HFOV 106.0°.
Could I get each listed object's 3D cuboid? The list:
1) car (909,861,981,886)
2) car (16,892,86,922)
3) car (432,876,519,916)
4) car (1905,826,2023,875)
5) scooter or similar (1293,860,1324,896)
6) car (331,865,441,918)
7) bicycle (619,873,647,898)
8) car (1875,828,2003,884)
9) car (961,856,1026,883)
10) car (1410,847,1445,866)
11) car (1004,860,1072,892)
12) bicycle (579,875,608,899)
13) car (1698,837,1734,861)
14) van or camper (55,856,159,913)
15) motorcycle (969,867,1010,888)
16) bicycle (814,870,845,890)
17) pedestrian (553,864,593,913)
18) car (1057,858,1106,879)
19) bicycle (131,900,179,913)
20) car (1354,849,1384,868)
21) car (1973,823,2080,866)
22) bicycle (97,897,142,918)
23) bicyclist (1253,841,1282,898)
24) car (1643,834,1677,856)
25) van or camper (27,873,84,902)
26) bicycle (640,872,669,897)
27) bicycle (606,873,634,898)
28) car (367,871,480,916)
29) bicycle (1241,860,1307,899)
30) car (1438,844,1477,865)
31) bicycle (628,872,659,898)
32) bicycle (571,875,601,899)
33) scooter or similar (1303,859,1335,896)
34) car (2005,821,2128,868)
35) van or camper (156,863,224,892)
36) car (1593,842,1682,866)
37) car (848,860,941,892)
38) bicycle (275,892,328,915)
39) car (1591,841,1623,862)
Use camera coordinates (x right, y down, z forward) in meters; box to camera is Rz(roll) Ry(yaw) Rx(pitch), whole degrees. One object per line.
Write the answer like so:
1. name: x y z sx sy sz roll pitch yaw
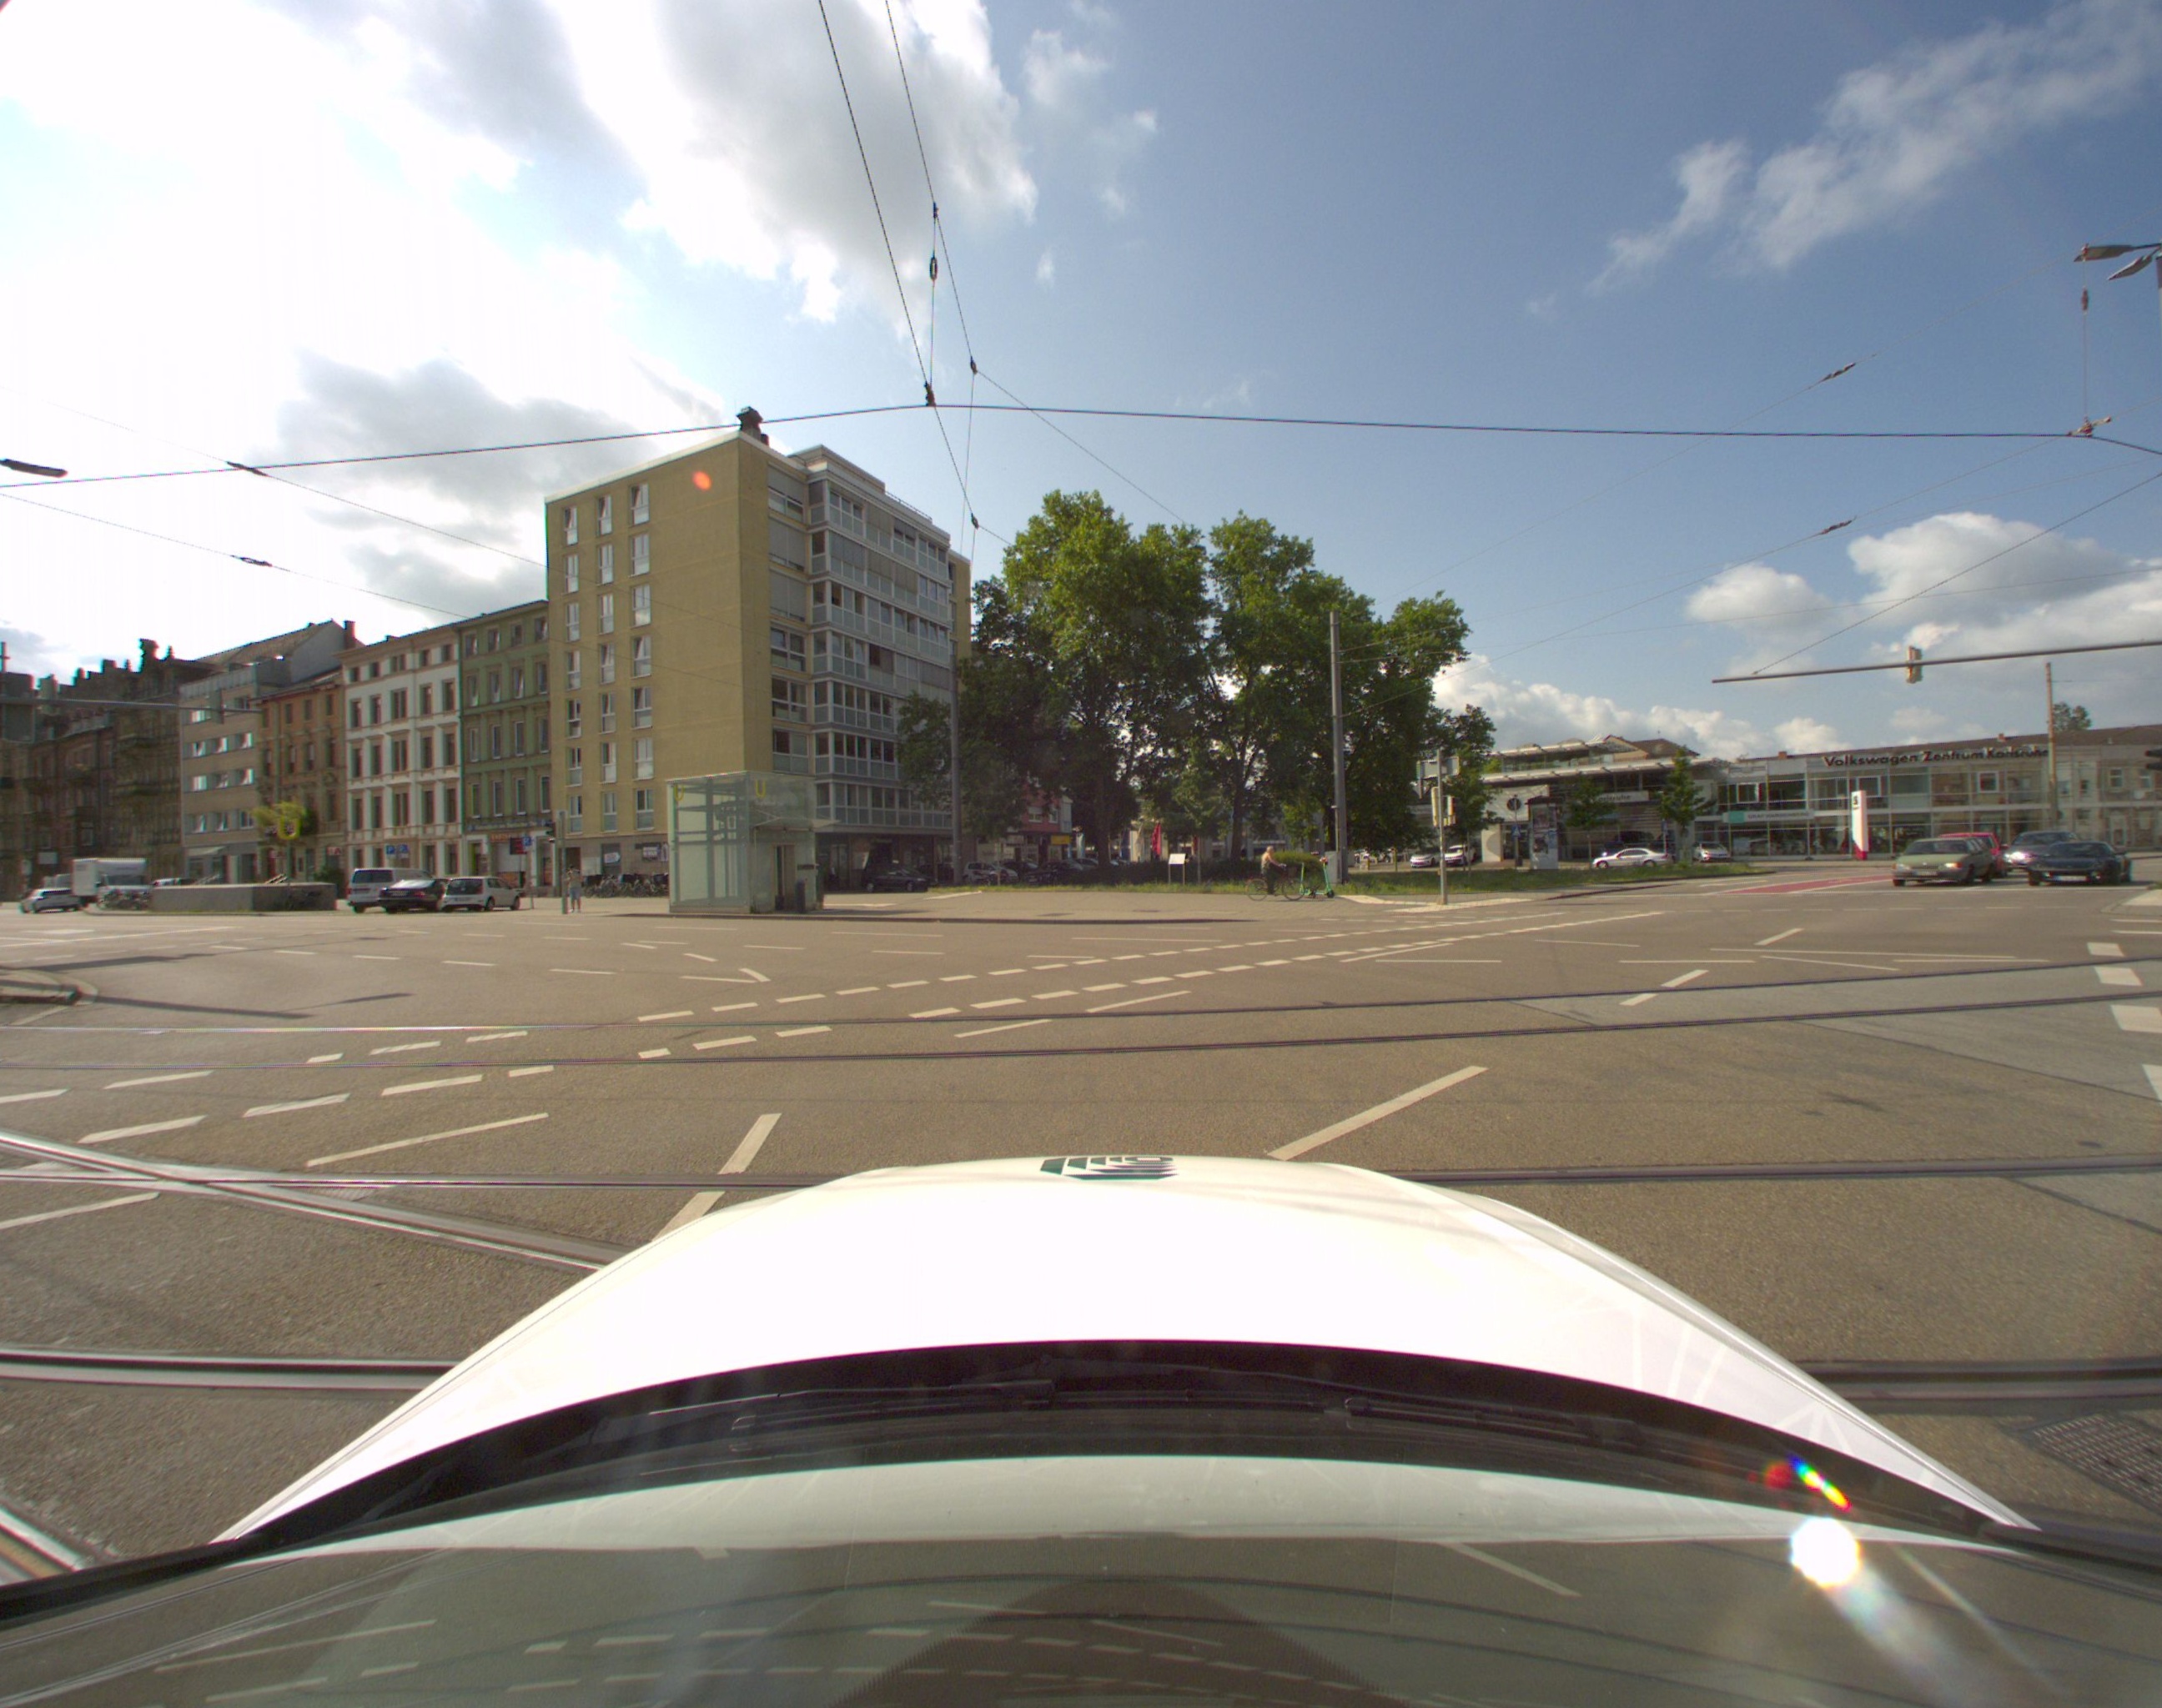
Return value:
1. car: -8.045 1.136 48.085 3.950 1.327 1.595 -3 -1 25
2. car: -63.499 3.242 50.202 4.289 1.436 1.808 1 6 28
3. car: -25.309 1.701 34.180 1.717 1.440 3.495 0 1 -14
4. car: 30.582 -0.123 28.199 4.014 1.519 1.980 -1 -1 -32
5. scooter or similar: 7.485 0.779 26.839 0.924 1.157 0.381 0 2 -2
6. car: -31.508 1.626 37.125 2.079 2.084 4.869 -1 1 -18
7. bicycle: -23.327 1.620 42.351 1.624 1.201 0.491 2 3 30
8. car: 25.846 0.056 24.506 4.014 1.513 1.808 -1 -1 -32
9. car: -5.553 0.999 51.683 3.530 1.530 2.012 -3 -1 25
10. car: 30.450 0.197 71.559 1.974 1.574 4.026 -3 -1 35
11. car: -2.240 1.128 43.311 1.774 1.419 4.025 2 3 28
12. bicycle: -26.023 1.750 43.510 1.625 1.201 0.491 1 2 26
13. car: 45.548 -0.405 58.500 1.902 1.551 4.026 5 4 37
14. van or camper: -64.609 1.903 53.972 7.544 3.330 2.738 1 3 27
15. motorcycle: -4.397 1.123 39.102 1.893 0.902 0.602 -2 1 -17
16. bicycle: -13.685 1.386 44.343 0.674 1.020 1.790 -2 -1 21
17. pedestrian: -18.709 1.261 29.987 0.780 1.759 0.996 -2 0 2
18. car: 0.026 1.184 65.674 3.573 1.594 1.676 -3 -1 29
19. bicycle: -53.611 3.039 47.171 1.767 0.586 0.635 -1 3 -14
20. car: 26.658 0.387 75.324 1.665 1.596 4.025 -3 -1 33
21. car: 37.560 -0.382 32.348 4.011 1.552 1.981 -2 0 -29
22. bicycle: -58.422 3.235 49.500 0.368 1.085 1.771 2 2 14
23. bicyclist: 5.940 0.491 25.909 0.819 1.745 0.714 -3 -1 14
24. car: 42.206 -0.691 59.349 1.901 1.444 4.026 -1 1 37
25. van or camper: -92.844 3.076 73.730 5.495 2.474 2.012 -2 0 26
26. bicycle: -21.752 1.542 41.544 1.624 1.201 0.491 2 3 30
27. bicycle: -23.749 1.629 41.961 1.624 1.201 0.491 2 3 30
28. car: -28.044 1.639 34.966 1.888 1.468 5.039 0 2 -15
29. bicycle: 6.119 0.808 25.861 1.971 1.127 0.792 -3 -1 14
30. car: 32.279 0.046 69.741 2.047 1.604 4.026 -3 0 39
31. bicycle: -22.070 1.544 41.072 1.624 1.201 0.552 2 3 30
32. bicycle: -26.186 1.747 43.075 1.625 1.201 0.491 1 2 26
33. scooter or similar: 7.671 0.761 26.281 0.927 1.157 0.380 -1 2 -13
34. car: 27.311 -0.280 22.547 4.014 1.161 1.610 -2 -1 -32
35. van or camper: -69.732 1.814 63.725 5.233 1.904 2.013 1 5 26
36. car: 36.779 0.006 53.882 2.011 1.354 4.493 -1 -2 -43
37. car: -9.690 1.127 42.294 4.338 1.585 2.011 -1 -1 24
38. bicycle: -37.632 2.362 39.340 0.507 1.004 1.787 1 0 19
39. car: 40.080 -0.205 62.050 1.901 1.445 4.026 -2 0 33
